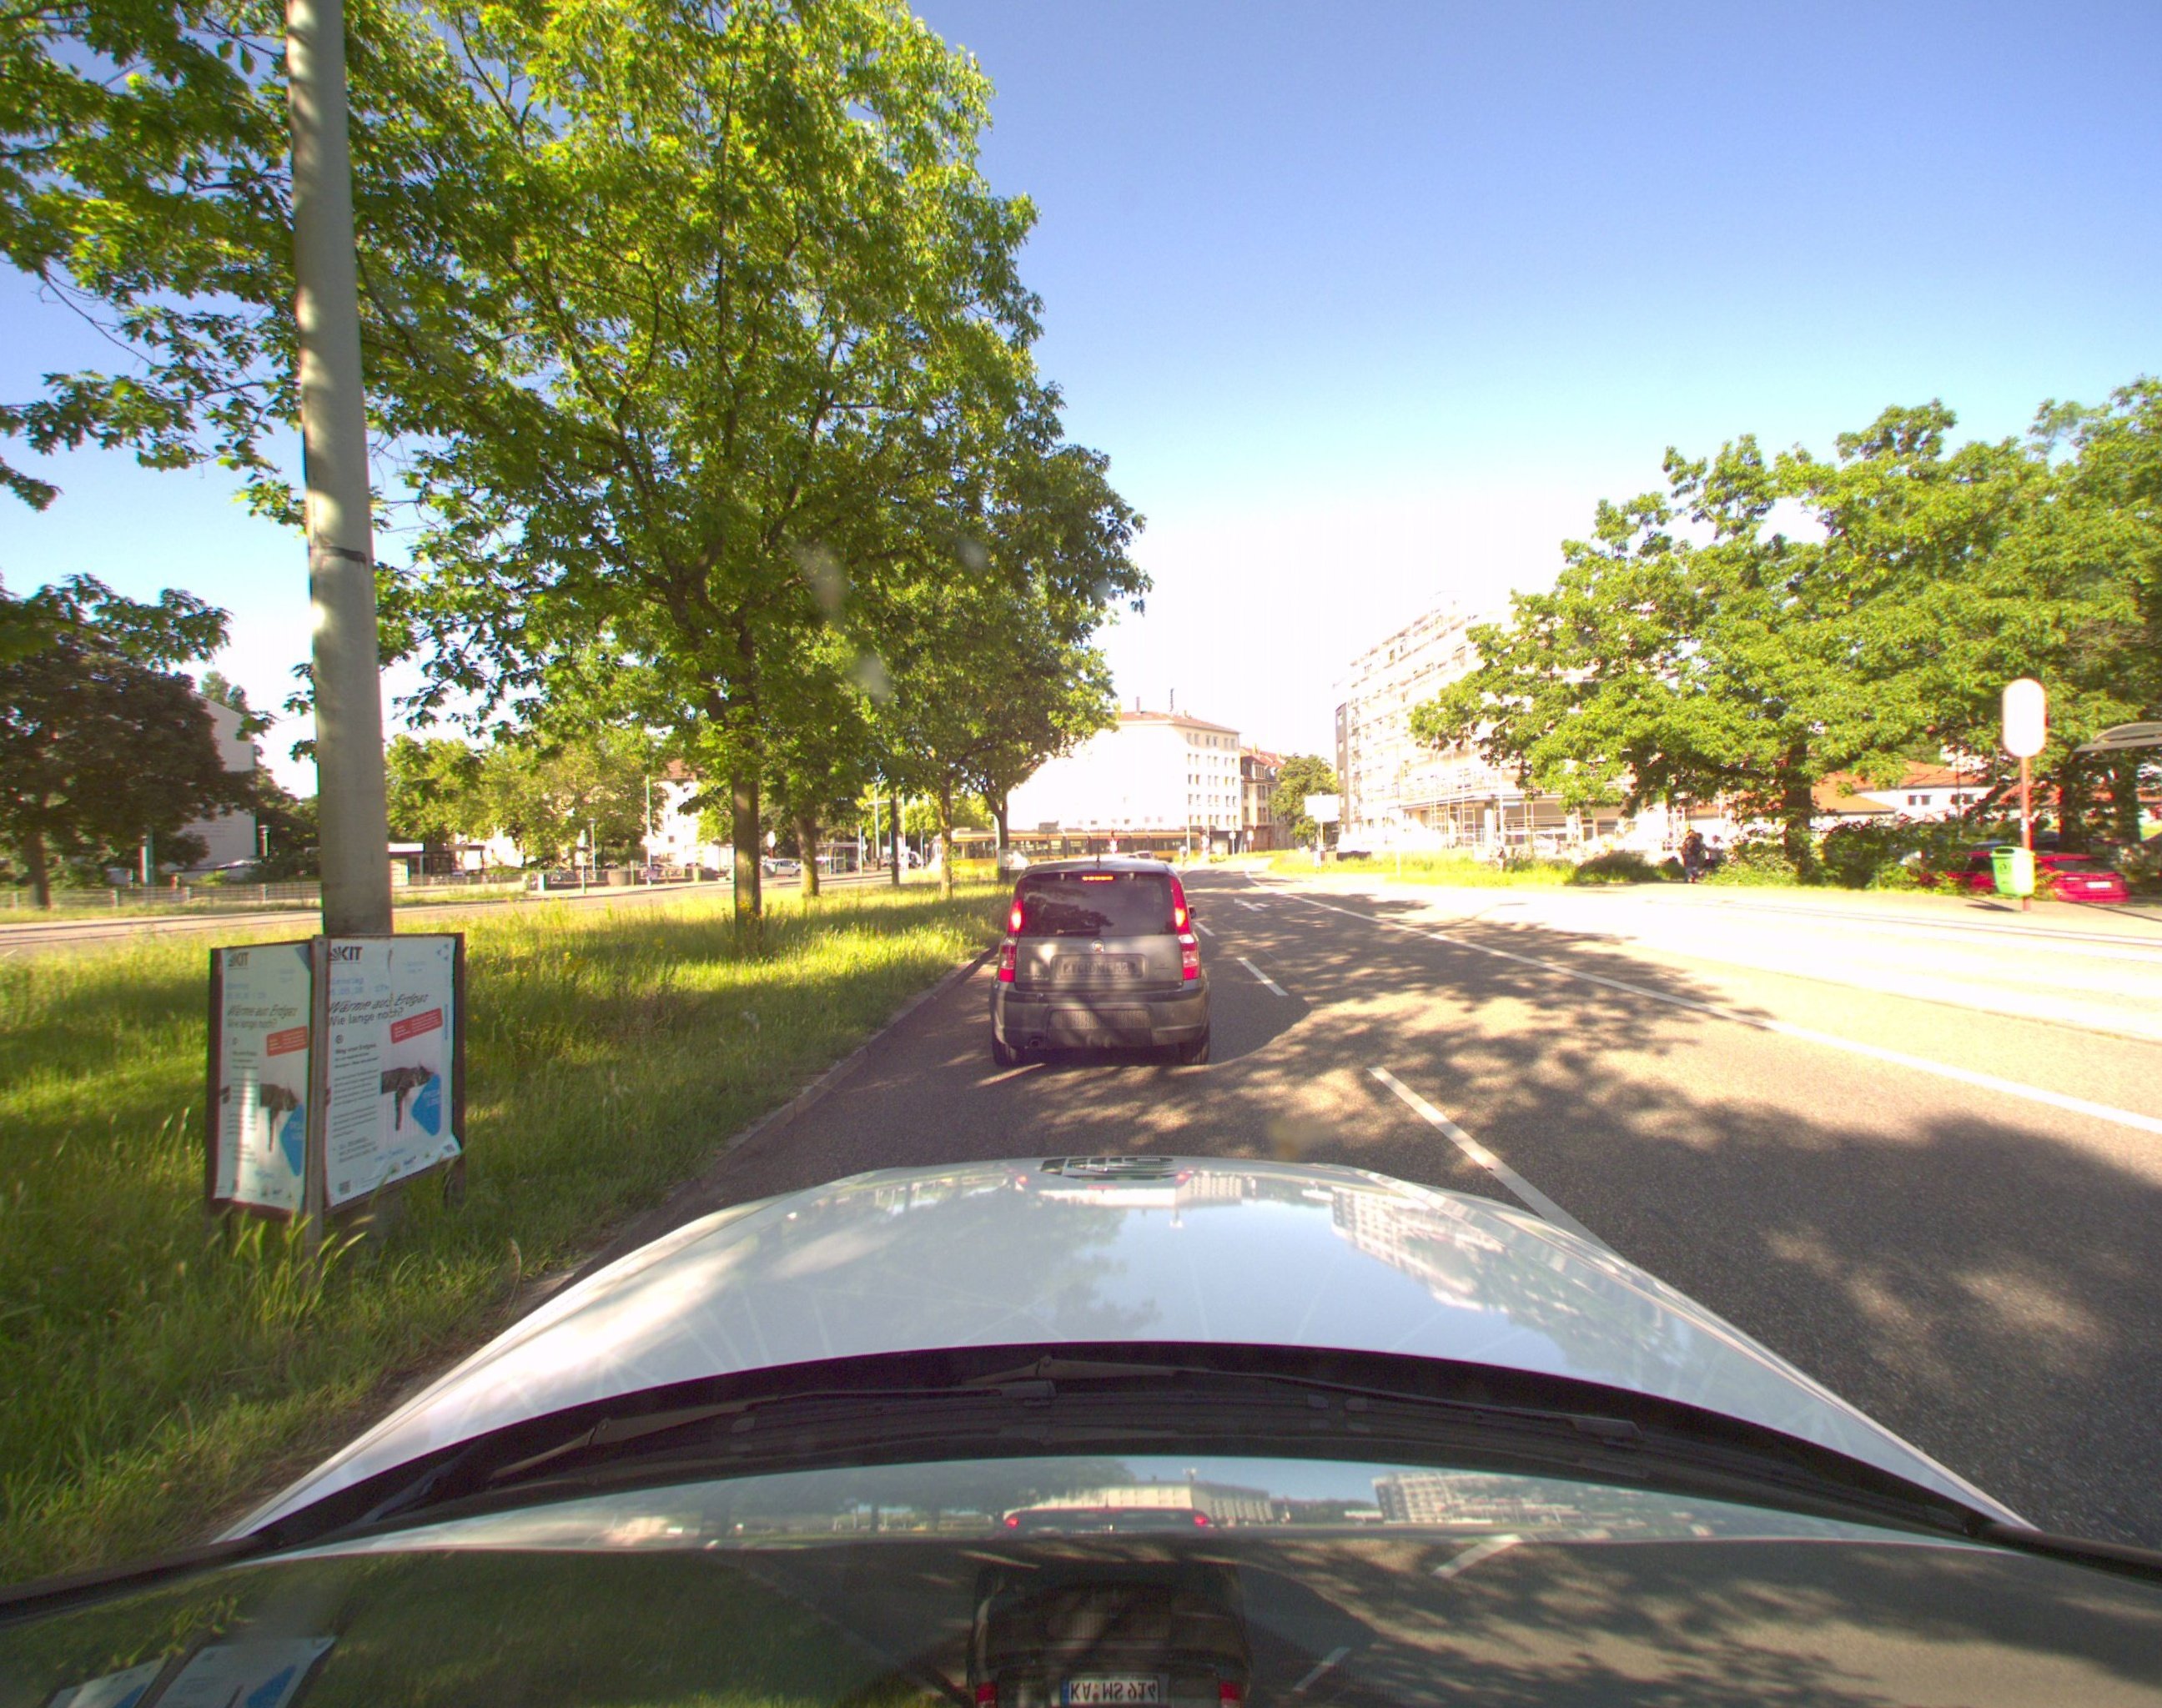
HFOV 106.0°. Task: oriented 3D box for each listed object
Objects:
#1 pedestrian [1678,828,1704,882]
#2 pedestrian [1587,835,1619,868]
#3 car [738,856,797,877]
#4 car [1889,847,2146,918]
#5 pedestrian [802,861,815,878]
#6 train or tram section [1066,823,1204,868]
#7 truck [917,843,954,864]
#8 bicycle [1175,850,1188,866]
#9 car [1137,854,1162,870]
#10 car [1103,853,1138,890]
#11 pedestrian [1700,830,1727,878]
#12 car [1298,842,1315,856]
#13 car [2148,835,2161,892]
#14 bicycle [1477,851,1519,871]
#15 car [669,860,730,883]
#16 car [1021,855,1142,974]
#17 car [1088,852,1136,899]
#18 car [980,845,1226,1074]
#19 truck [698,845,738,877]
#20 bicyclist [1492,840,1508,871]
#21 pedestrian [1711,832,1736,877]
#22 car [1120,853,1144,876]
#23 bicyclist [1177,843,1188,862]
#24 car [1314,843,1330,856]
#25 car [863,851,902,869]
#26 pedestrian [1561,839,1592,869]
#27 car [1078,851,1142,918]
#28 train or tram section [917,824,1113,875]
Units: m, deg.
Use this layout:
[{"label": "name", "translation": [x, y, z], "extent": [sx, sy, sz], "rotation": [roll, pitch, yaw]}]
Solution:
[{"label": "pedestrian", "translation": [18.546, 0.017, 24.763], "extent": [0.516, 1.612, 0.595], "rotation": [-2, 0, 28]}, {"label": "pedestrian", "translation": [26.728, -0.141, 41.717], "extent": [0.888, 1.653, 0.984], "rotation": [-2, 0, -9]}, {"label": "car", "translation": [-27.316, 1.069, 71.061], "extent": [1.974, 1.684, 4.348], "rotation": [-2, 0, 40]}, {"label": "car", "translation": [21.993, 0.601, 19.372], "extent": [1.747, 1.486, 3.743], "rotation": [-2, 0, -2]}, {"label": "pedestrian", "translation": [-26.303, 1.470, 78.558], "extent": [0.910, 1.607, 0.802], "rotation": [-2, 0, 41]}, {"label": "train or tram section", "translation": [5.942, -0.946, 79.694], "extent": [3.263, 3.770, 20.943], "rotation": [-2, 0, 34]}, {"label": "truck", "translation": [-23.008, -0.137, 128.565], "extent": [5.425, 3.168, 2.358], "rotation": [-2, 0, 30]}, {"label": "bicycle", "translation": [7.725, 0.335, 62.478], "extent": [0.706, 1.198, 2.520], "rotation": [0, -1, 1]}, {"label": "car", "translation": [4.869, 0.578, 57.712], "extent": [1.133, 1.064, 2.735], "rotation": [-2, 0, 19]}, {"label": "car", "translation": [1.607, 0.694, 33.963], "extent": [1.351, 1.449, 3.267], "rotation": [-2, 0, 2]}, {"label": "pedestrian", "translation": [19.348, -0.001, 24.915], "extent": [0.516, 1.447, 0.595], "rotation": [-2, 0, 28]}, {"label": "car", "translation": [24.917, -0.530, 89.994], "extent": [1.669, 1.449, 3.588], "rotation": [-2, 0, 18]}, {"label": "car", "translation": [29.867, 0.217, 20.176], "extent": [1.911, 1.486, 3.725], "rotation": [-2, 0, -17]}, {"label": "bicycle", "translation": [20.849, 0.372, 40.778], "extent": [1.776, 0.945, 0.562], "rotation": [-2, 0, 16]}, {"label": "car", "translation": [-31.267, 1.448, 66.788], "extent": [1.974, 1.684, 4.025], "rotation": [-2, 0, 40]}, {"label": "car", "translation": [0.056, 0.747, 11.759], "extent": [1.458, 1.401, 3.395], "rotation": [-2, 0, 2]}, {"label": "car", "translation": [1.032, 0.683, 27.355], "extent": [1.458, 1.424, 3.383], "rotation": [-2, 0, 2]}, {"label": "car", "translation": [0.211, 0.703, 7.531], "extent": [1.622, 1.508, 4.002], "rotation": [-2, 0, 2]}, {"label": "truck", "translation": [-33.073, 0.632, 74.197], "extent": [2.012, 2.805, 3.951], "rotation": [-2, 0, -44]}, {"label": "bicyclist", "translation": [20.949, 0.064, 40.714], "extent": [0.579, 1.493, 0.553], "rotation": [-2, 0, 17]}, {"label": "pedestrian", "translation": [20.932, 0.017, 26.547], "extent": [0.516, 1.447, 0.595], "rotation": [-2, 0, 28]}, {"label": "car", "translation": [3.100, 0.623, 49.674], "extent": [1.351, 1.281, 2.877], "rotation": [-2, 0, 2]}, {"label": "bicyclist", "translation": [7.722, -0.087, 62.221], "extent": [0.739, 1.438, 0.845], "rotation": [0, -1, 0]}, {"label": "car", "translation": [27.742, -0.526, 93.556], "extent": [1.514, 1.314, 3.304], "rotation": [-2, 0, 20]}, {"label": "car", "translation": [-23.997, 0.722, 98.743], "extent": [4.164, 2.013, 1.931], "rotation": [-2, 0, -1]}, {"label": "pedestrian", "translation": [25.351, -0.001, 41.681], "extent": [0.893, 1.447, 0.962], "rotation": [-2, 0, -13]}, {"label": "car", "translation": [0.731, 0.699, 20.781], "extent": [1.458, 1.508, 3.506], "rotation": [-2, 0, 2]}, {"label": "train or tram section", "translation": [-4.510, -0.502, 65.278], "extent": [3.263, 3.513, 19.509], "rotation": [-2, 0, 38]}]
